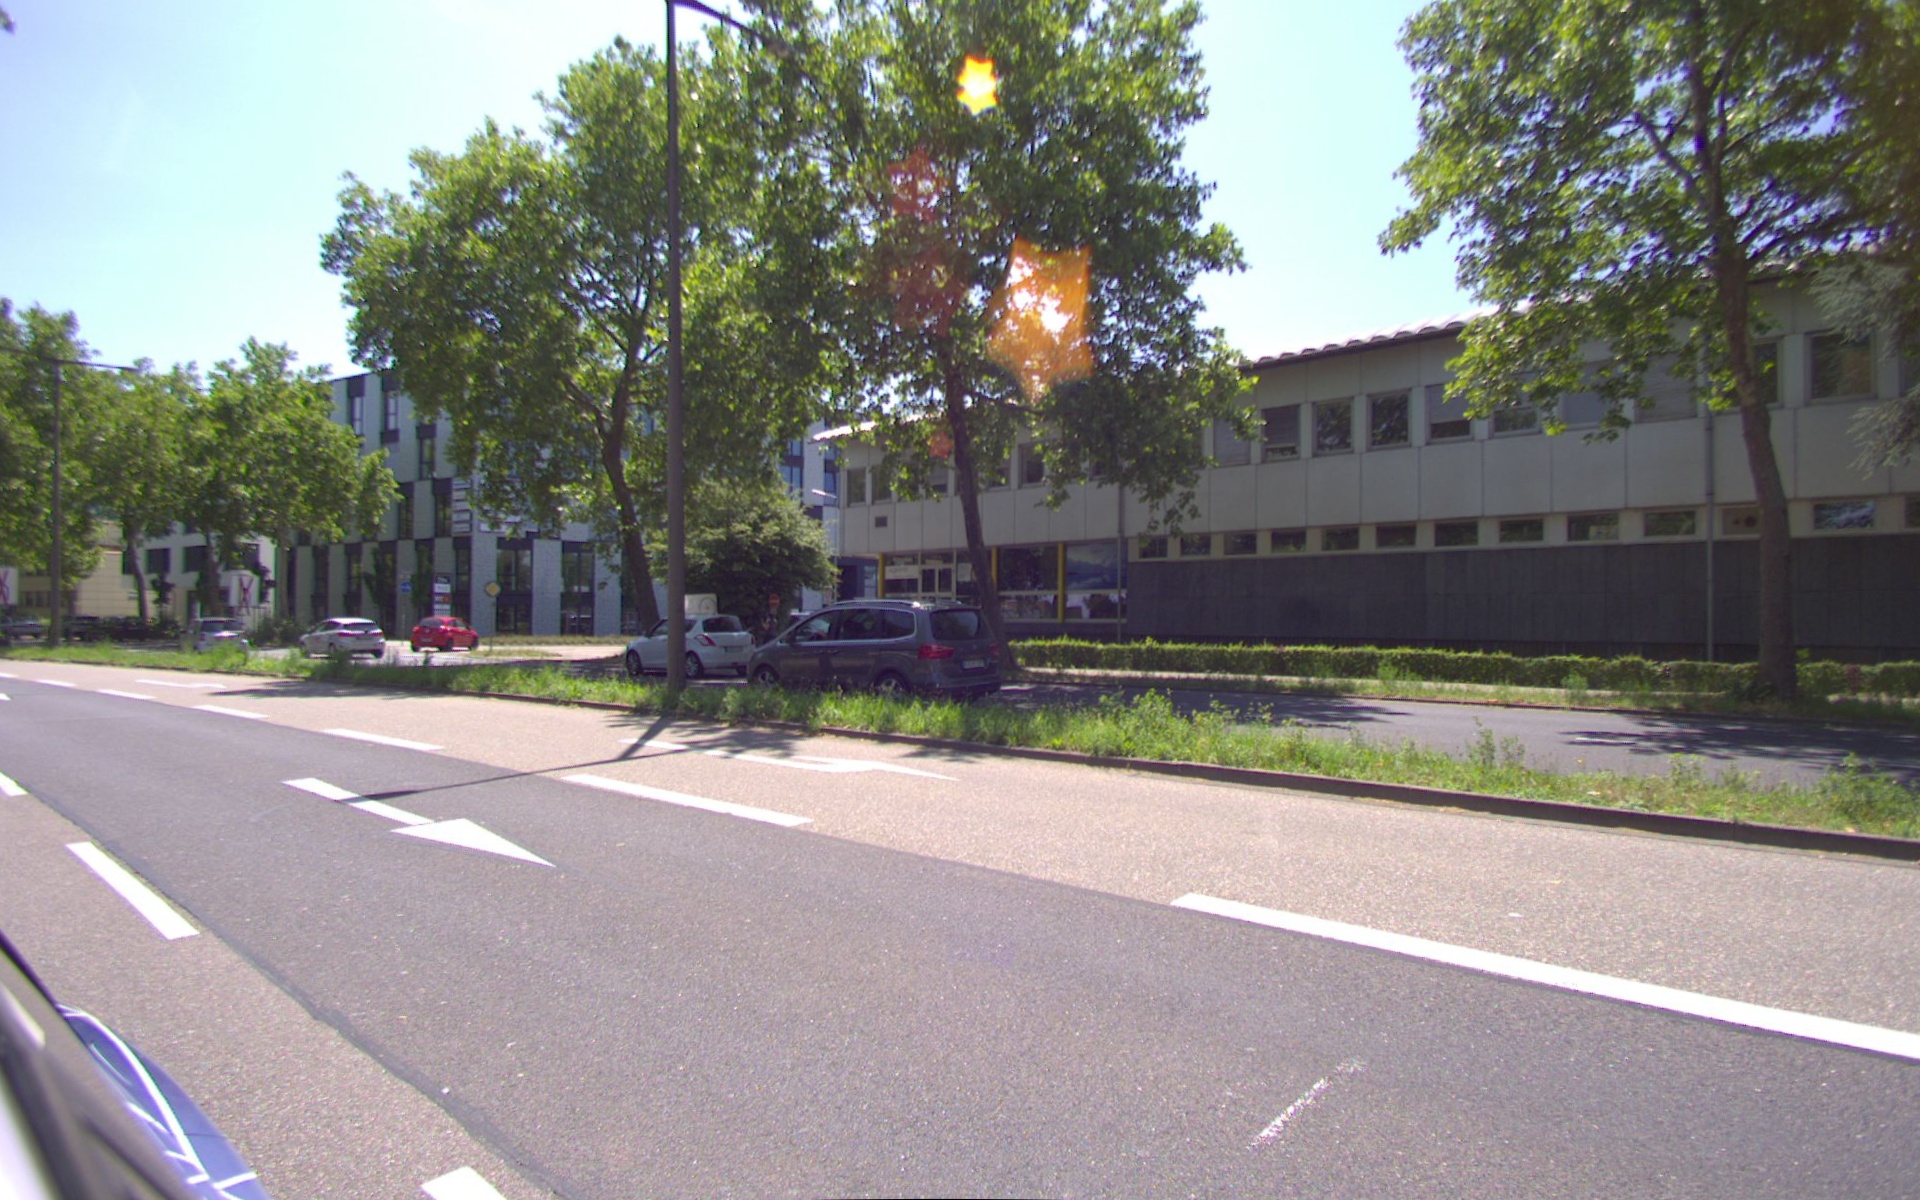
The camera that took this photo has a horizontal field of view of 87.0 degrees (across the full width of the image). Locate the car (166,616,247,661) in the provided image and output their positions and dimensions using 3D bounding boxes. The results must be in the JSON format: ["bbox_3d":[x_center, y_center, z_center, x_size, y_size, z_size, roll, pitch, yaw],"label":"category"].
[{"bbox_3d":[-27.002,1.375,36.247,2.848,1.540,1.519,-1,-2,36],"label":"car"}]

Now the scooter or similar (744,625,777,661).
[{"bbox_3d":[-6.576,1.410,33.405,0.858,1.172,0.671,-2,-2,39],"label":"scooter or similar"}]

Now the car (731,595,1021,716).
[{"bbox_3d":[-1.451,0.819,16.208,4.616,1.668,1.930,-1,-2,40],"label":"car"}]

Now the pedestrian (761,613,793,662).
[{"bbox_3d":[-5.943,1.201,32.870,0.790,1.572,0.635,-1,-2,38],"label":"pedestrian"}]

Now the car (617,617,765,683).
[{"bbox_3d":[-6.580,1.172,24.602,3.671,1.470,1.714,-1,-2,40],"label":"car"}]

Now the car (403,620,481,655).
[{"bbox_3d":[-22.592,1.602,44.265,1.653,1.472,3.531,0,-2,-1],"label":"car"}]

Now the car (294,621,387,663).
[{"bbox_3d":[-22.607,1.501,36.895,3.667,1.454,1.735,-1,-2,38],"label":"car"}]

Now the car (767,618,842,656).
[{"bbox_3d":[-7.457,1.733,48.347,3.528,1.660,1.795,-1,0,44],"label":"car"}]
